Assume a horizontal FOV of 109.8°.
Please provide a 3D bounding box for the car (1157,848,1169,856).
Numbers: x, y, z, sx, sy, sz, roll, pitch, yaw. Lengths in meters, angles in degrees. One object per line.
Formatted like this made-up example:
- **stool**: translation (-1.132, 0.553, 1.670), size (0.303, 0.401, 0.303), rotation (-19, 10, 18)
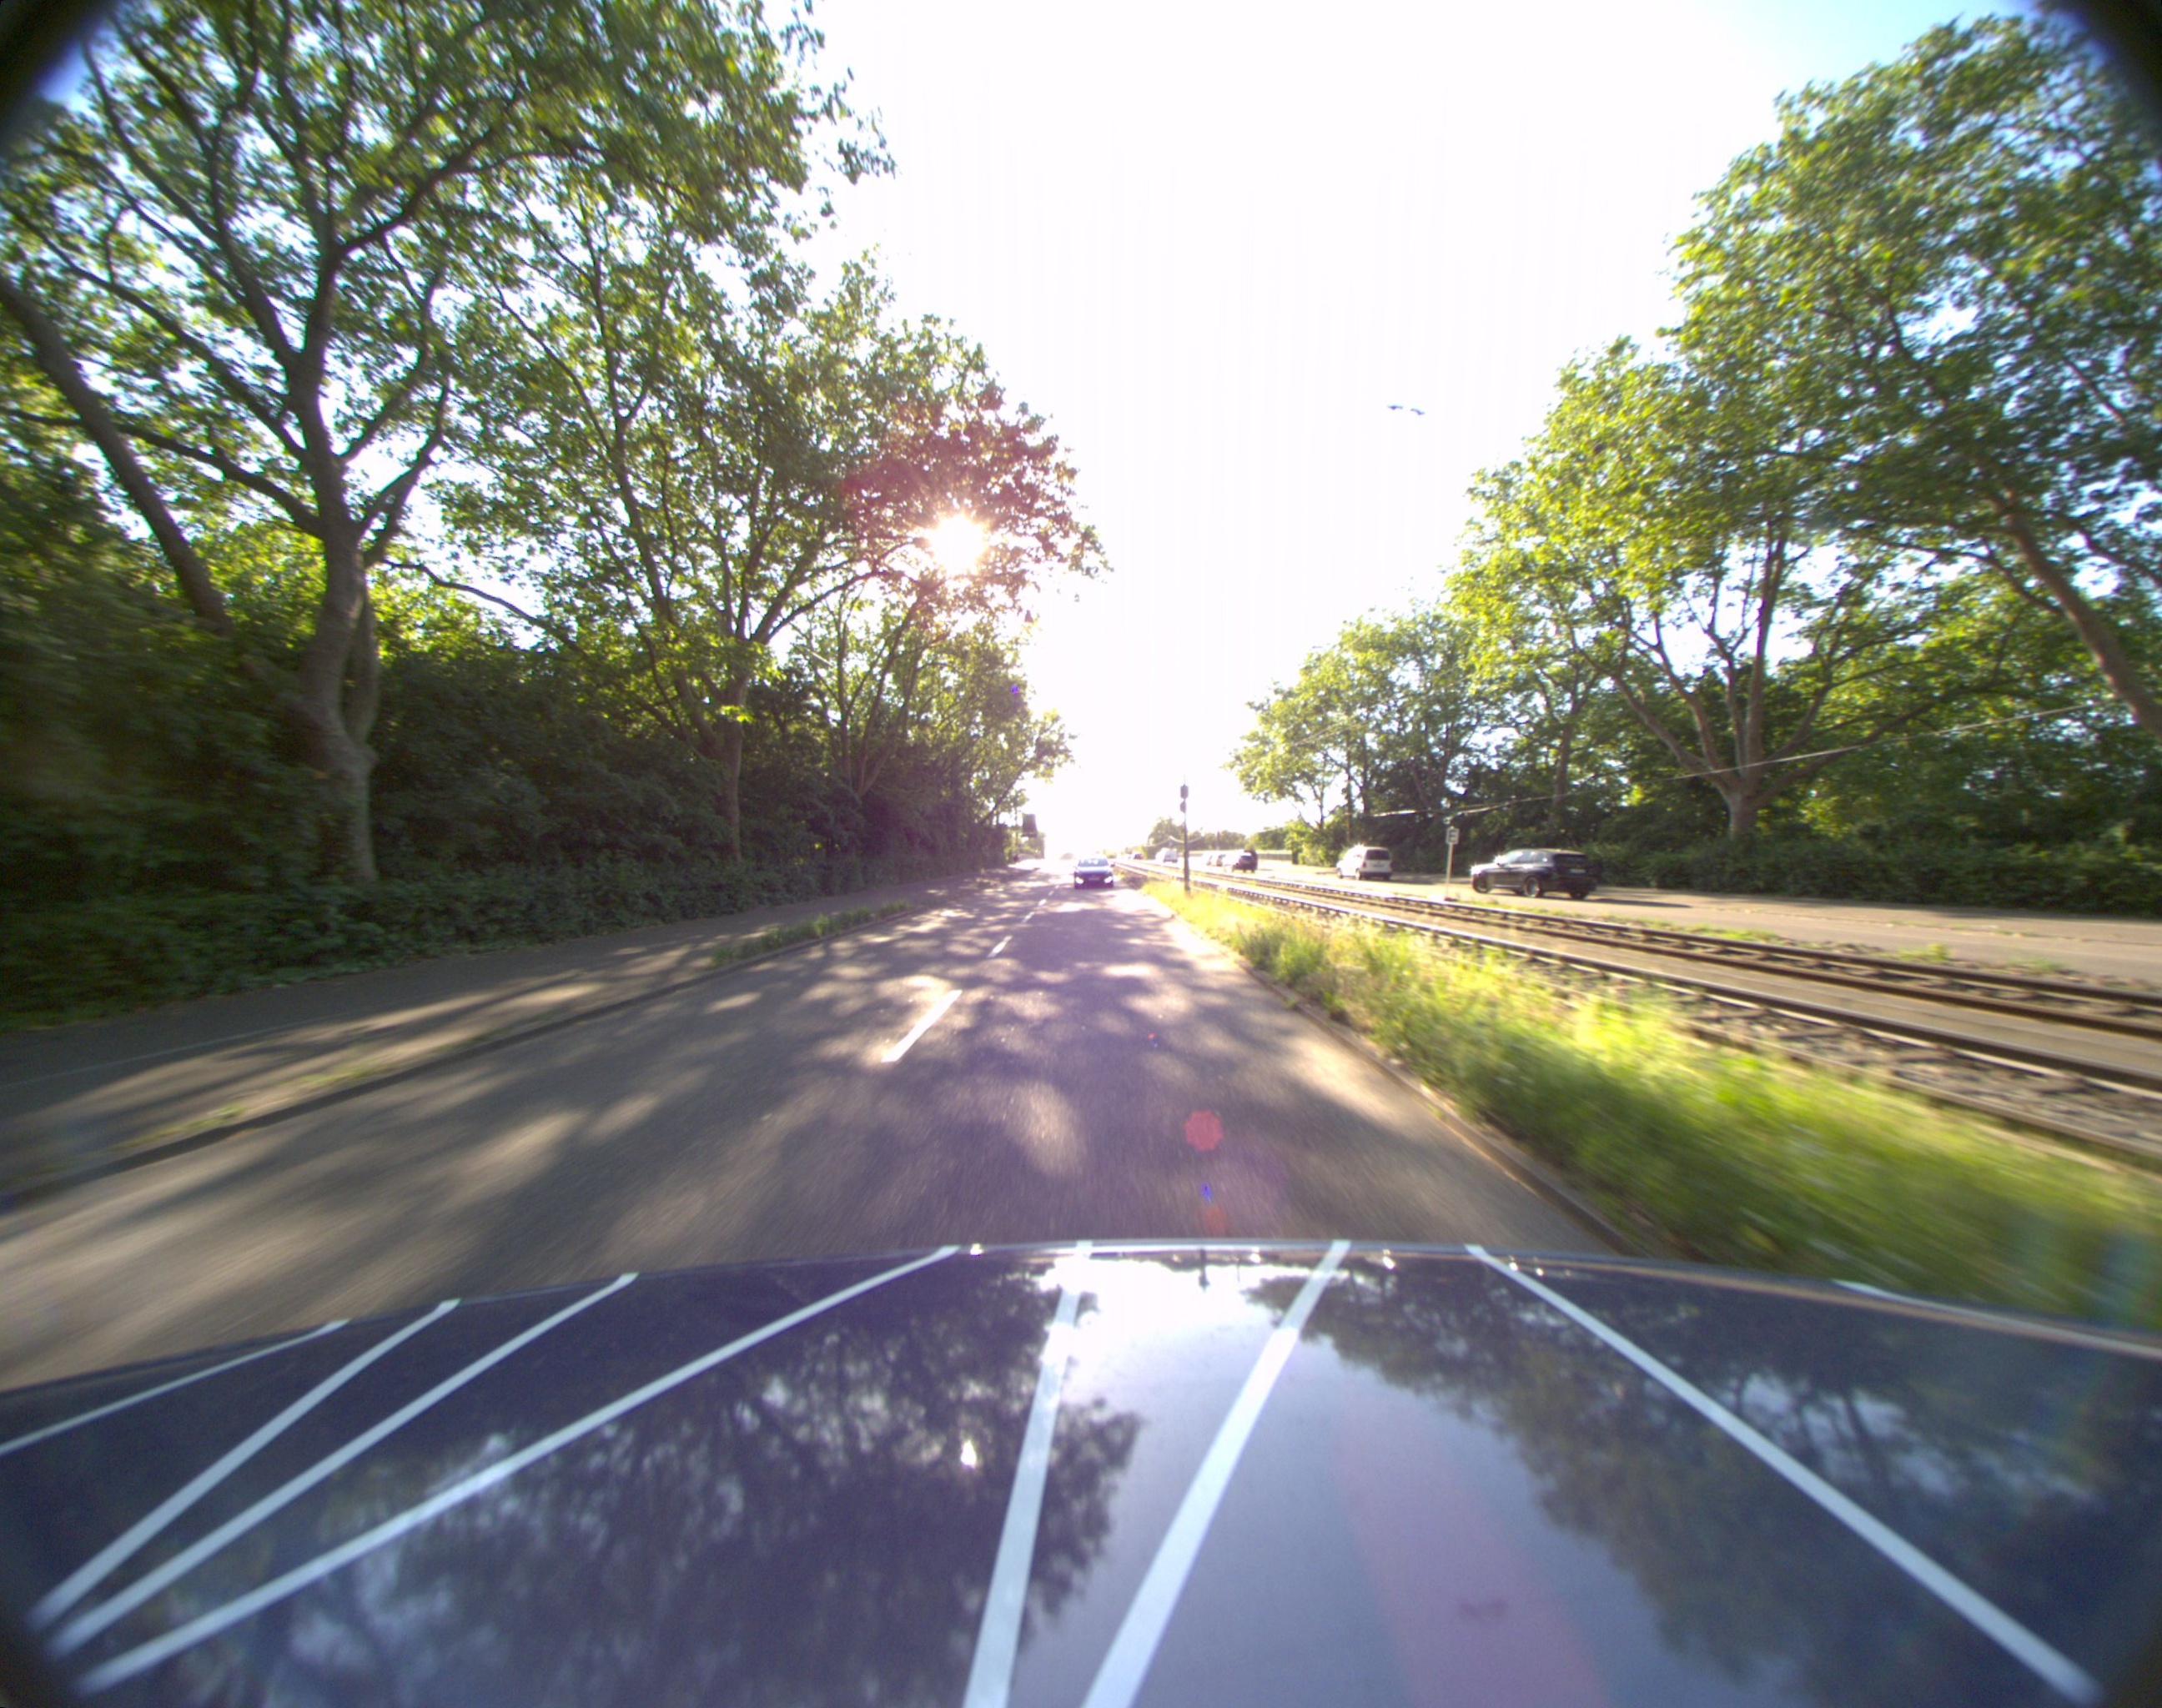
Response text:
- **car**: translation (14.556, -0.362, 134.898), size (1.658, 1.491, 3.924), rotation (0, 1, 0)

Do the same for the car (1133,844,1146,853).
- **car**: translation (11.557, -1.074, 150.392), size (1.988, 1.841, 4.961), rotation (0, 1, -1)

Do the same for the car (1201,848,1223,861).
- **car**: translation (14.993, 0.058, 86.958), size (1.659, 1.491, 3.923), rotation (0, 1, -3)

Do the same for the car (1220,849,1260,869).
- **car**: translation (12.238, 0.380, 58.648), size (1.925, 1.407, 4.748), rotation (1, 1, -2)

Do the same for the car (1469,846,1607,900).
- **car**: translation (15.883, 0.600, 26.738), size (1.833, 1.709, 4.391), rotation (0, 1, -7)

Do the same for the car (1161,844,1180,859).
- **car**: translation (11.709, -0.369, 100.026), size (1.832, 1.841, 5.035), rotation (0, 1, -1)

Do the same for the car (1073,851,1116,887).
- **car**: translation (0.581, 0.658, 35.181), size (1.799, 1.501, 3.999), rotation (-2, 0, -1)

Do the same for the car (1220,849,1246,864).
- **car**: translation (15.246, 0.194, 76.196), size (1.659, 1.434, 3.784), rotation (0, 1, -3)

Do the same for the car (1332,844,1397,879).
- **car**: translation (15.816, 0.371, 42.611), size (1.832, 1.830, 4.393), rotation (0, 1, -3)

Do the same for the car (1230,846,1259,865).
- **car**: translation (15.186, 0.103, 70.736), size (1.735, 1.730, 3.898), rotation (0, 1, -3)

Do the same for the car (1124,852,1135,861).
- **car**: translation (11.015, 0.585, 173.507), size (1.988, 1.841, 4.961), rotation (0, 1, -1)

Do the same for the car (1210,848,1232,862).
- **car**: translation (15.024, 0.130, 81.680), size (1.658, 1.434, 3.784), rotation (0, 1, -2)
